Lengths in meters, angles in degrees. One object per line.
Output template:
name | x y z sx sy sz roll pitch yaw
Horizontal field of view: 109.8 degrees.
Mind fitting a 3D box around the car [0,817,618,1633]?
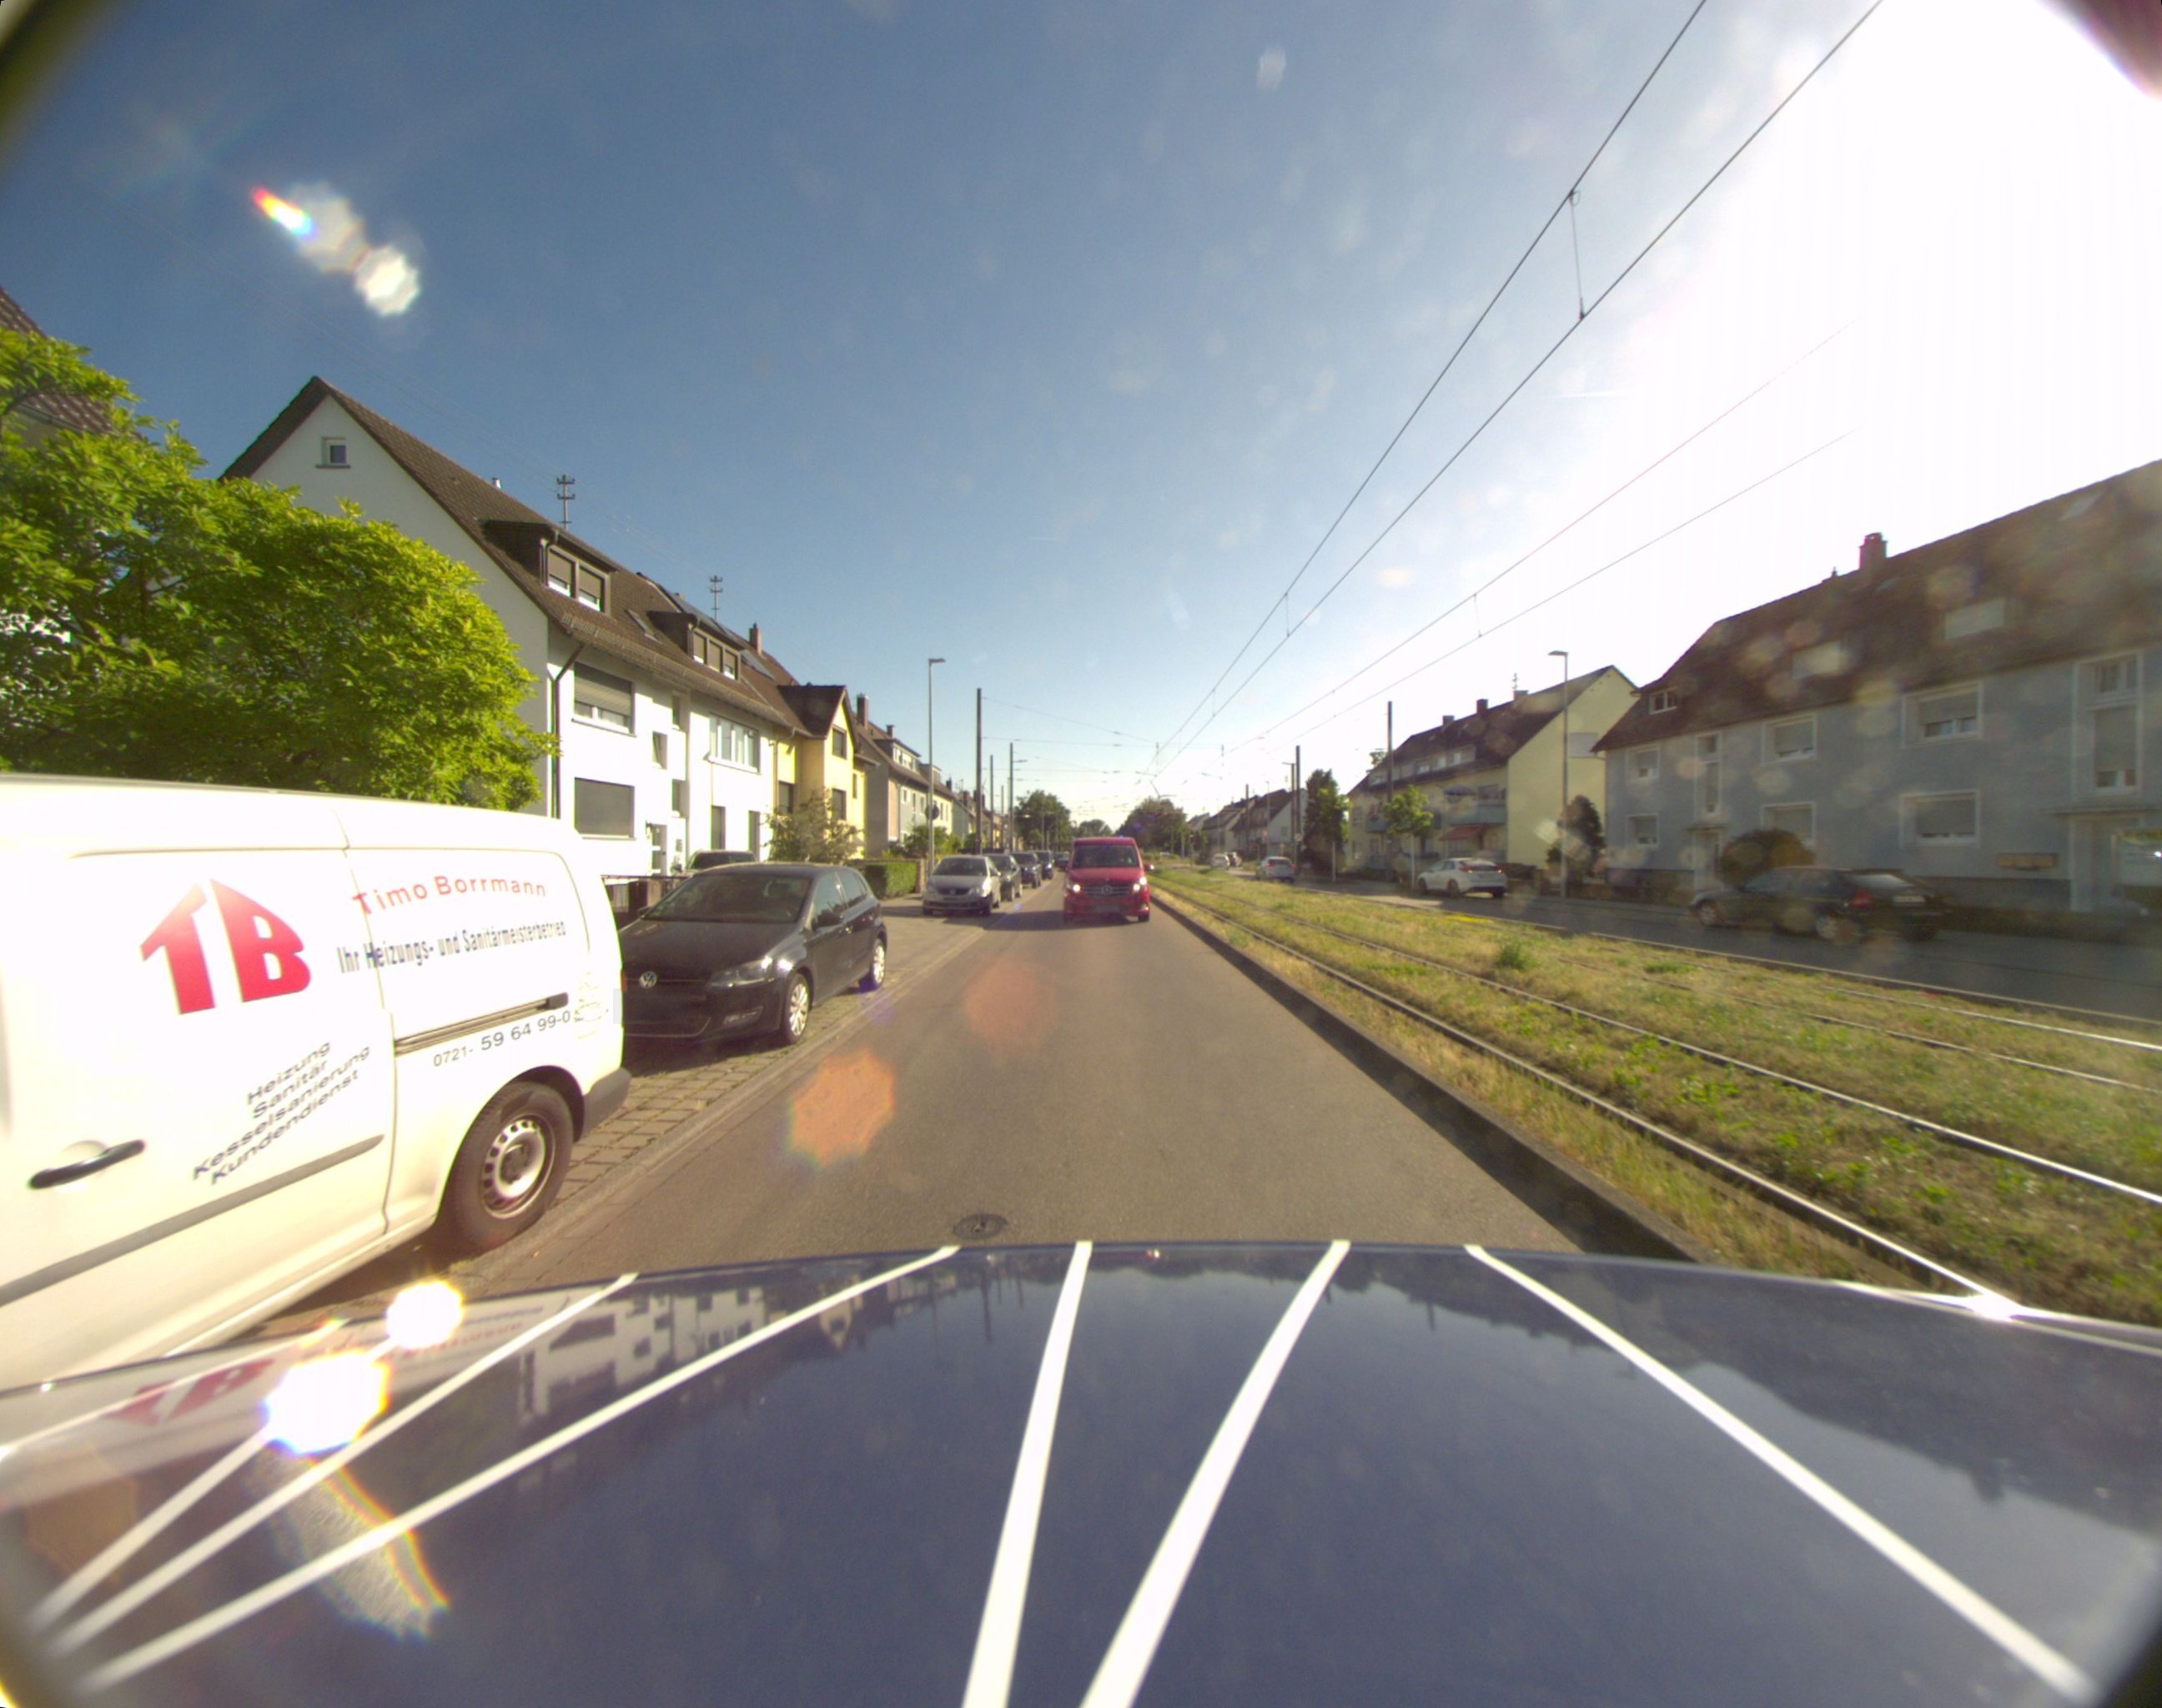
car | -3.192 0.801 1.411 1.694 1.766 4.656 0 0 2

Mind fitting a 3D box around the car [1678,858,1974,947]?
car | 14.236 0.827 14.934 1.794 1.454 4.166 0 0 2

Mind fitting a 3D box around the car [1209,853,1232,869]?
car | 13.253 0.633 72.289 1.553 1.404 3.659 0 0 2

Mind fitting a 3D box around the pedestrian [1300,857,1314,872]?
pedestrian | 17.240 0.811 57.967 0.821 1.059 0.625 -1 3 -33

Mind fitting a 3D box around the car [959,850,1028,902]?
car | -2.838 0.664 25.434 1.670 1.538 3.835 2 1 2

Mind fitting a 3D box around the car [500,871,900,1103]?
car | -3.112 0.959 7.284 1.675 1.445 4.125 0 1 1

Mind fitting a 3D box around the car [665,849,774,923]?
car | -8.350 0.632 17.719 2.003 1.437 4.871 1 0 -24

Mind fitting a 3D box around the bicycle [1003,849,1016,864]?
bicycle | -4.779 0.166 51.014 0.602 0.974 1.562 2 1 2

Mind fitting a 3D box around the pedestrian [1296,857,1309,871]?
pedestrian | 17.136 0.796 58.825 0.819 1.040 0.687 0 2 -2

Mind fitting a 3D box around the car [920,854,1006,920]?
car | -2.961 0.771 19.913 1.620 1.467 4.448 0 1 -1

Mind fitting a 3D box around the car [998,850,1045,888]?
car | -2.762 0.654 36.046 1.859 1.649 4.473 0 0 0

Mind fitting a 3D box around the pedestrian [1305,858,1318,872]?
pedestrian | 17.355 0.813 57.257 0.725 1.000 0.594 -1 3 -24

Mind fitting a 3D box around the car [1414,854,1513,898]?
car | 14.288 0.774 28.665 1.696 1.509 4.214 0 1 2

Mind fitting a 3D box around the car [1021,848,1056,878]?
car | -2.747 0.538 49.741 1.966 1.826 4.926 0 1 0

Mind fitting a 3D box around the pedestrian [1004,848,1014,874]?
pedestrian | -4.795 0.491 50.595 0.584 1.713 0.714 0 1 2

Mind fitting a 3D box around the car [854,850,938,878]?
car | -10.178 0.557 42.053 4.175 1.459 1.900 0 0 0

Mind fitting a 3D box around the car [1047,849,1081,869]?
car | -1.709 0.491 74.134 2.002 1.762 3.991 -1 2 -22

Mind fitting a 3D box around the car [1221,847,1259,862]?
car | 17.380 0.050 83.107 4.007 1.570 1.826 0 1 -36

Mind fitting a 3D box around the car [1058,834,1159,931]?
car | 0.495 0.570 18.474 1.999 1.970 5.236 -1 1 -2

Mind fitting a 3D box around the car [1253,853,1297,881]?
car | 11.652 0.729 45.867 1.712 1.482 4.023 0 2 2
